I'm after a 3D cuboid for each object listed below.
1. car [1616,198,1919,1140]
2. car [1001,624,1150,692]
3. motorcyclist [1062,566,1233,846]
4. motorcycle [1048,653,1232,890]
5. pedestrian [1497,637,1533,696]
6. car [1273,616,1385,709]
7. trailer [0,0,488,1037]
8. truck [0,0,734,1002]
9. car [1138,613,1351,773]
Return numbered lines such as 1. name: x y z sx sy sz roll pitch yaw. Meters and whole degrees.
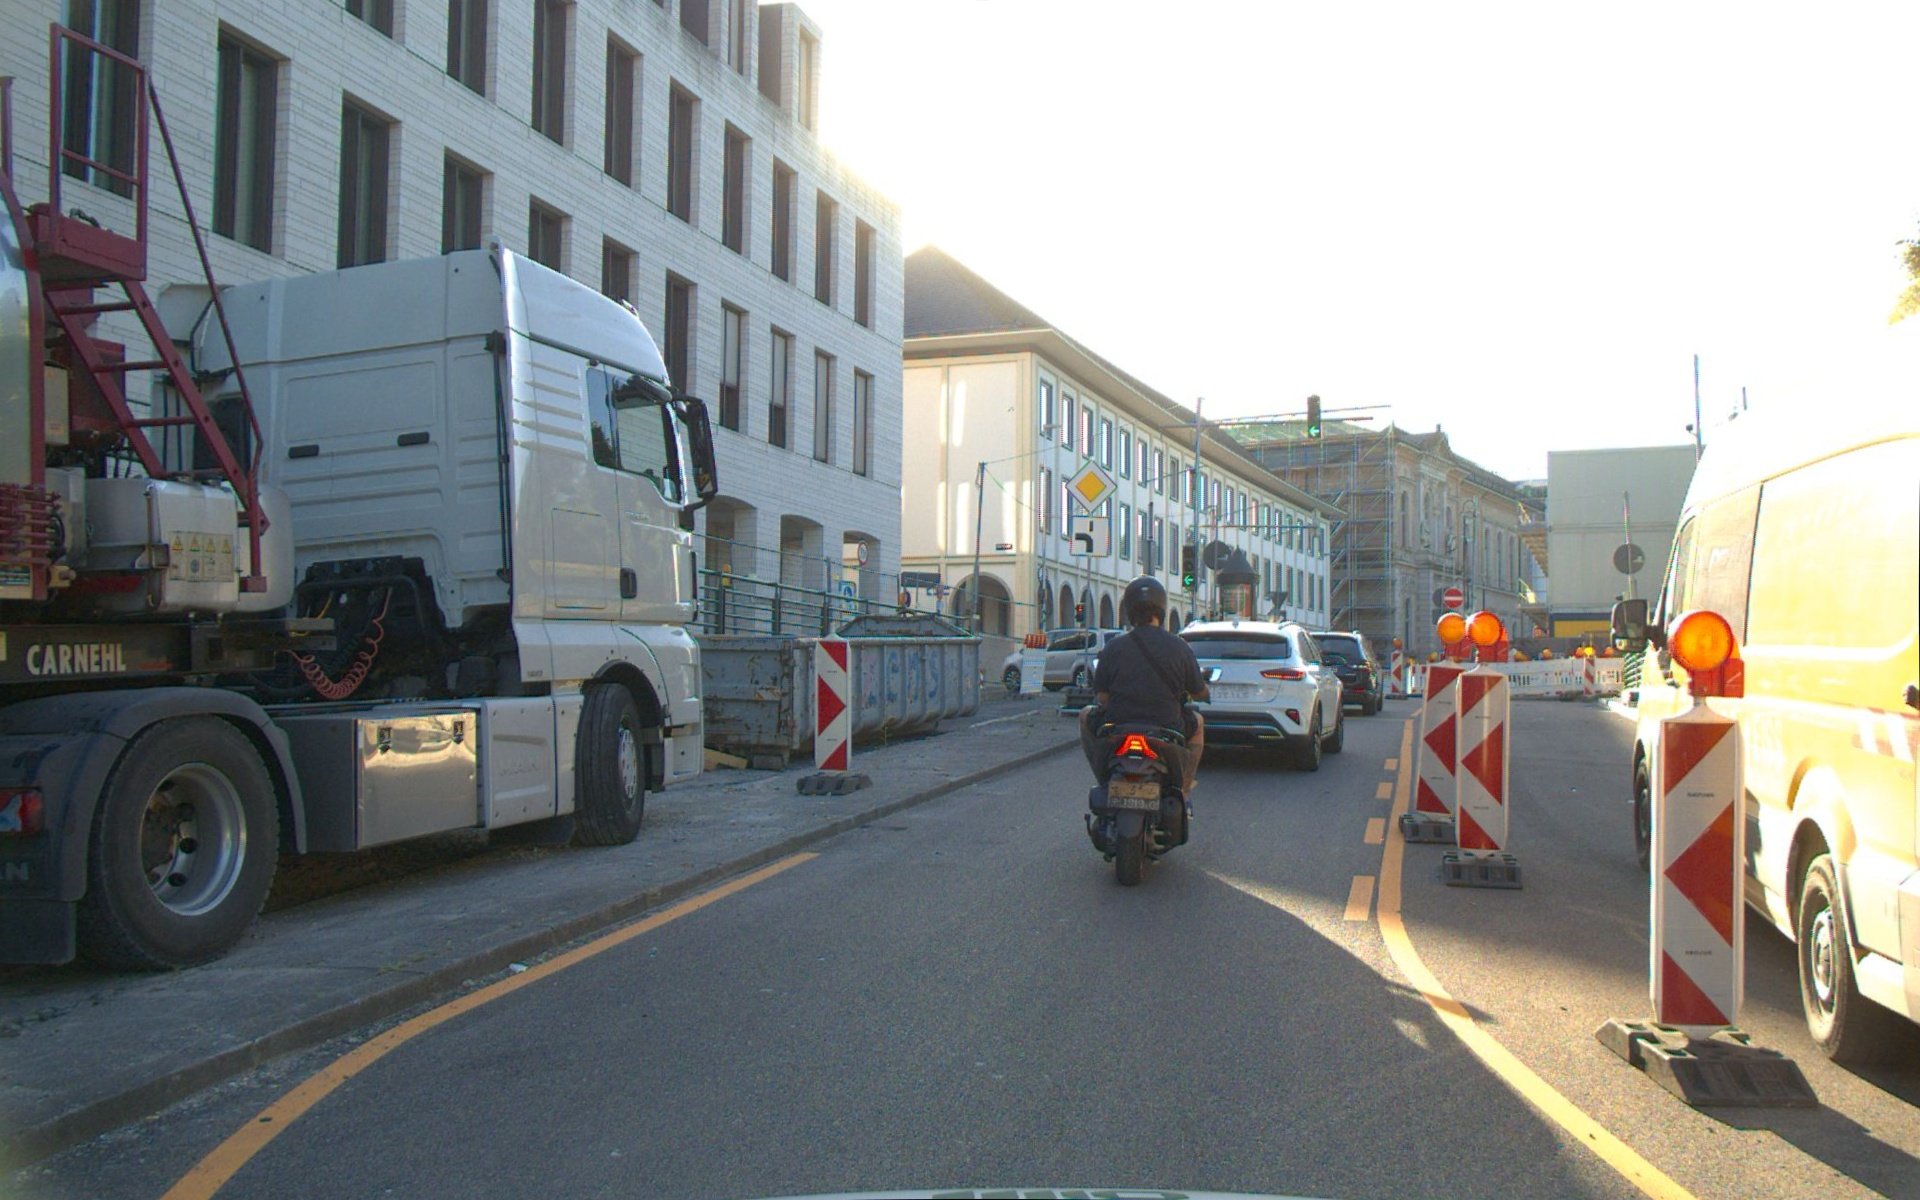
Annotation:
1. car: 4.520 0.241 7.444 2.067 2.671 6.991 0 -1 15
2. car: 3.127 1.547 45.431 1.792 1.751 4.103 0 -1 -39
3. motorcyclist: 1.169 0.612 10.093 0.933 1.587 1.240 0 -1 11
4. motorcycle: 1.167 0.950 10.101 0.886 1.204 2.581 0 -1 11
5. pedestrian: 16.820 2.024 50.127 0.954 1.759 0.798 -2 -4 20
6. car: 6.785 1.159 30.137 1.736 1.578 4.108 -1 -3 16
7. trailer: -4.796 -0.353 4.528 2.586 3.733 8.755 -4 -2 13
8. truck: -3.645 -0.265 8.920 2.525 3.550 5.819 -4 -2 15
9. car: 3.213 0.914 18.043 1.820 1.498 4.002 1 0 17
